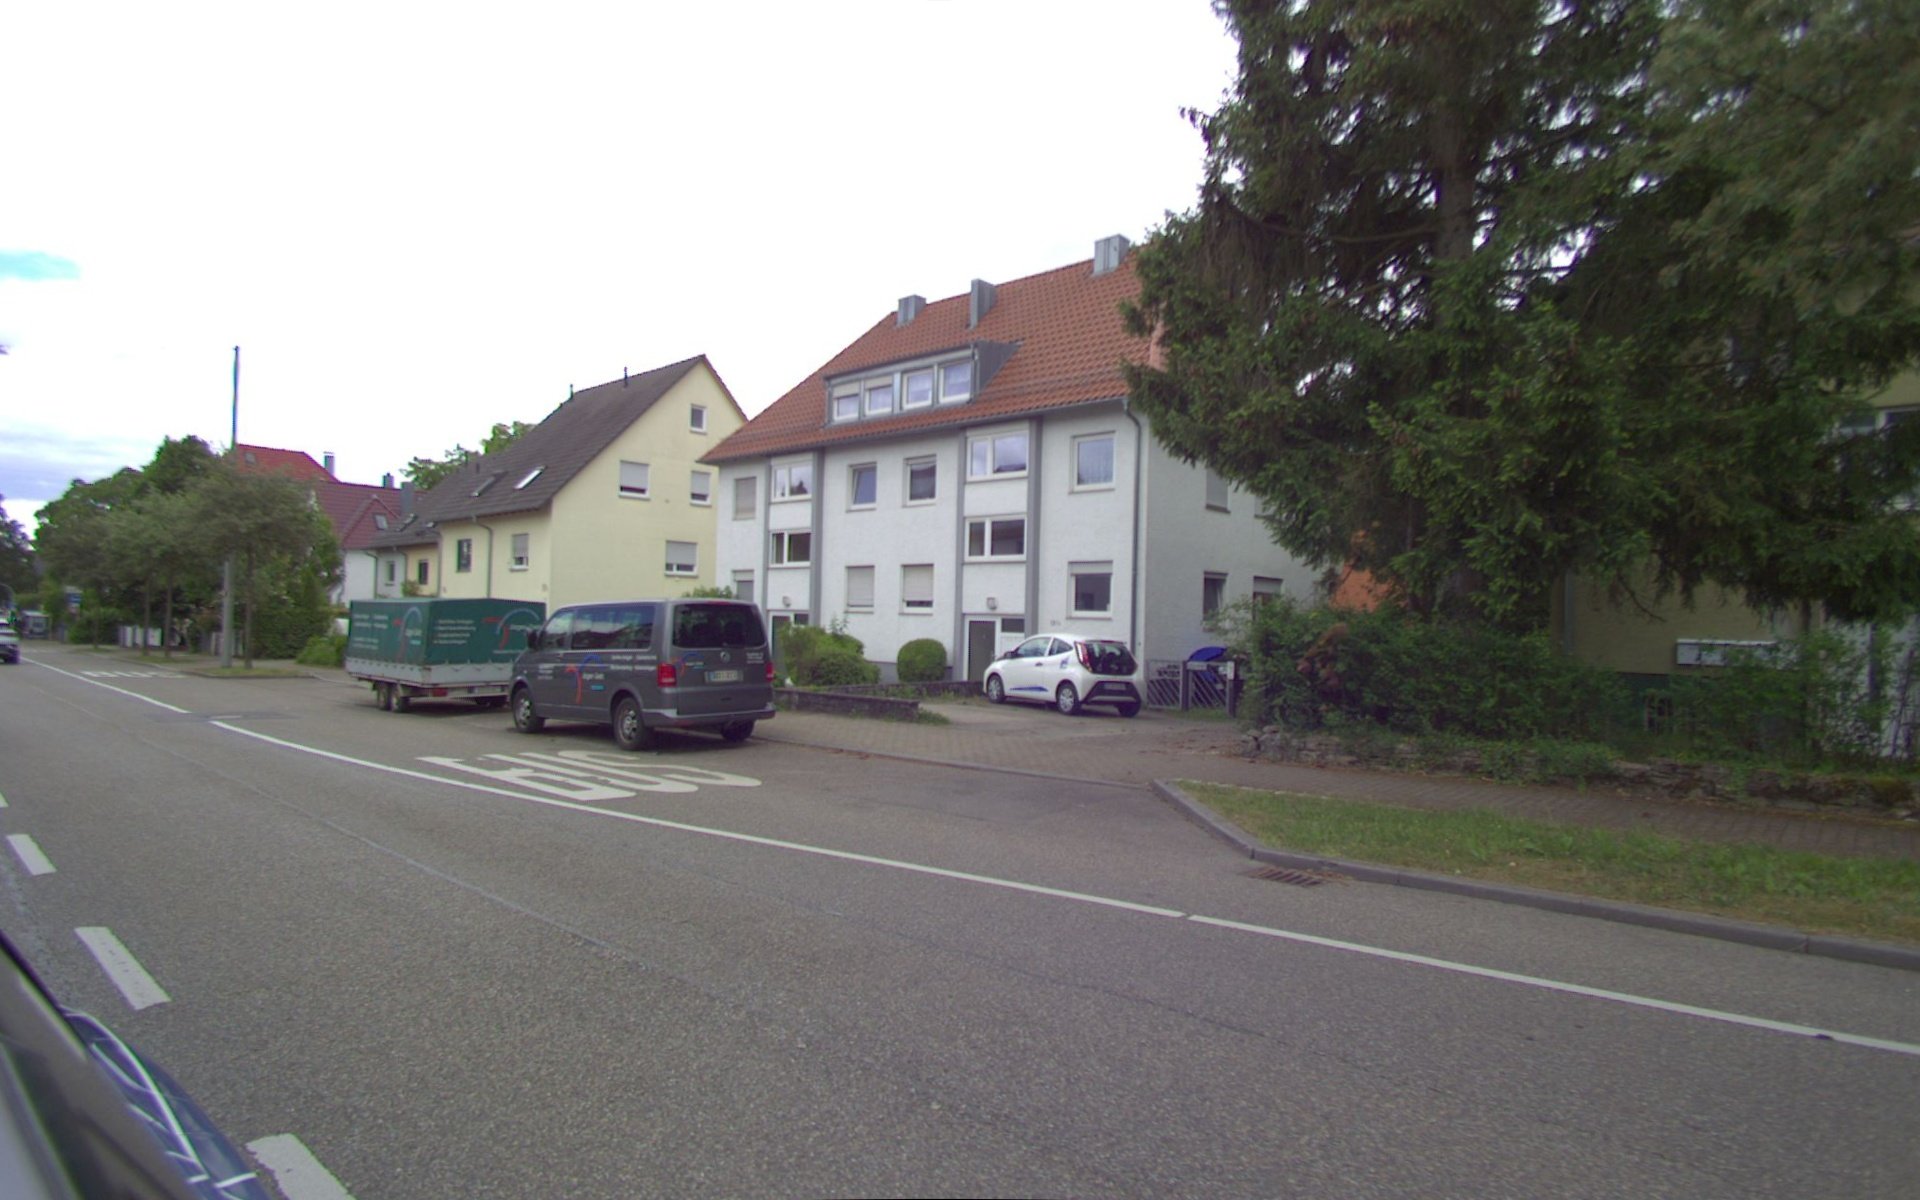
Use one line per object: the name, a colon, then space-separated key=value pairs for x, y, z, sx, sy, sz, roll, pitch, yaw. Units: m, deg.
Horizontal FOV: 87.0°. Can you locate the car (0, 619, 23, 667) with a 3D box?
car: x=-34.649 y=1.506 z=35.885 sx=4.299 sy=1.616 sz=1.801 roll=-2 pitch=-3 yaw=44

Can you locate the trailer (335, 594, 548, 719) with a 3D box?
trailer: x=-9.972 y=1.031 z=19.339 sx=4.424 sy=2.104 sz=2.131 roll=-2 pitch=-3 yaw=42

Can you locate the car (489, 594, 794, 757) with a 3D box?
car: x=-4.722 y=0.988 z=14.562 sx=4.897 sy=1.964 sz=1.972 roll=-1 pitch=-3 yaw=42

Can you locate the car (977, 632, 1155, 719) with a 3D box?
car: x=1.942 y=1.381 z=19.380 sx=1.603 sy=1.497 sz=3.435 roll=2 pitch=-3 yaw=-32
